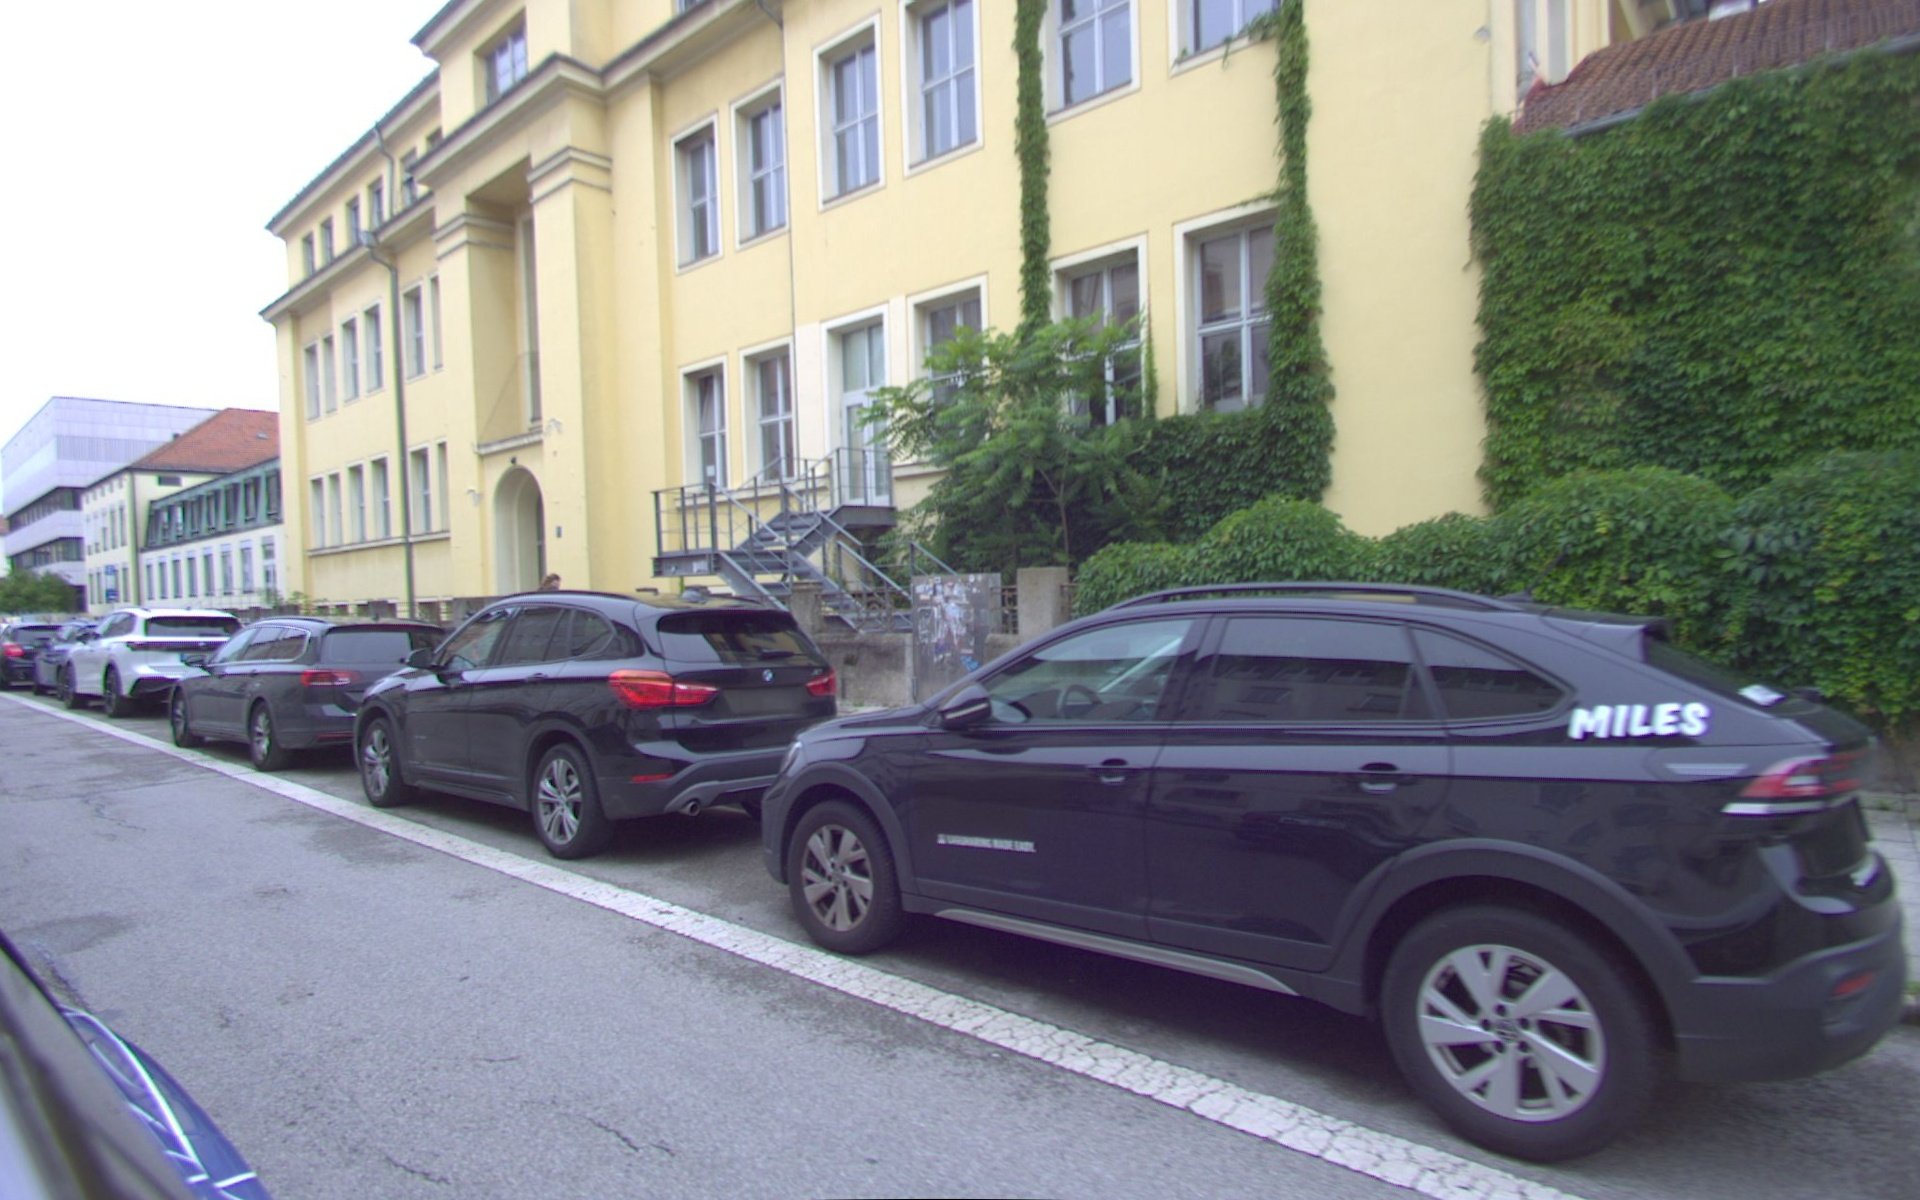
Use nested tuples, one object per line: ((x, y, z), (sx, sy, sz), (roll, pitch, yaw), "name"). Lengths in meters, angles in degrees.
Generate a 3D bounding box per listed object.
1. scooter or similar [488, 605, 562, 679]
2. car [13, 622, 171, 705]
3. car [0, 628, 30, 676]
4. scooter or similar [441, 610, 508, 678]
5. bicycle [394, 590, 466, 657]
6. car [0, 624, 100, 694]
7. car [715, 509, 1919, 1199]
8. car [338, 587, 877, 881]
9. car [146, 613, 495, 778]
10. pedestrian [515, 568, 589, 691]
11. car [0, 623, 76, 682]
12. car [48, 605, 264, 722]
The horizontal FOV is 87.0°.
((-7.192, 0.688, 16.704), (1.444, 1.144, 0.526), (-3, 0, 41), "scooter or similar")
((-16.933, 1.182, 19.697), (3.912, 1.457, 1.591), (-1, -2, 38), "car")
((-30.296, 1.591, 31.298), (4.018, 1.408, 1.793), (-1, -2, 41), "car")
((-8.651, 0.776, 18.013), (1.444, 1.144, 0.526), (-3, 0, 41), "scooter or similar")
((-10.101, 0.443, 19.247), (1.765, 1.197, 0.577), (-1, 1, 41), "bicycle")
((-20.824, 1.280, 22.752), (3.777, 1.450, 1.716), (-2, -2, 41), "car")
((1.073, 0.624, 3.935), (4.215, 1.492, 1.700), (-1, -3, 39), "car")
((-2.725, 0.745, 7.296), (4.270, 1.514, 1.751), (-1, -2, 40), "car")
((-6.975, 0.900, 10.843), (4.596, 1.419, 1.756), (-2, -3, 39), "car")
((-6.324, 0.436, 15.685), (0.782, 1.838, 0.766), (-1, 0, 44), "pedestrian")
((-24.598, 1.327, 26.466), (4.110, 1.457, 1.668), (-1, -2, 41), "car")
((-13.022, 0.962, 16.312), (4.294, 1.653, 1.764), (-1, -3, 38), "car")
